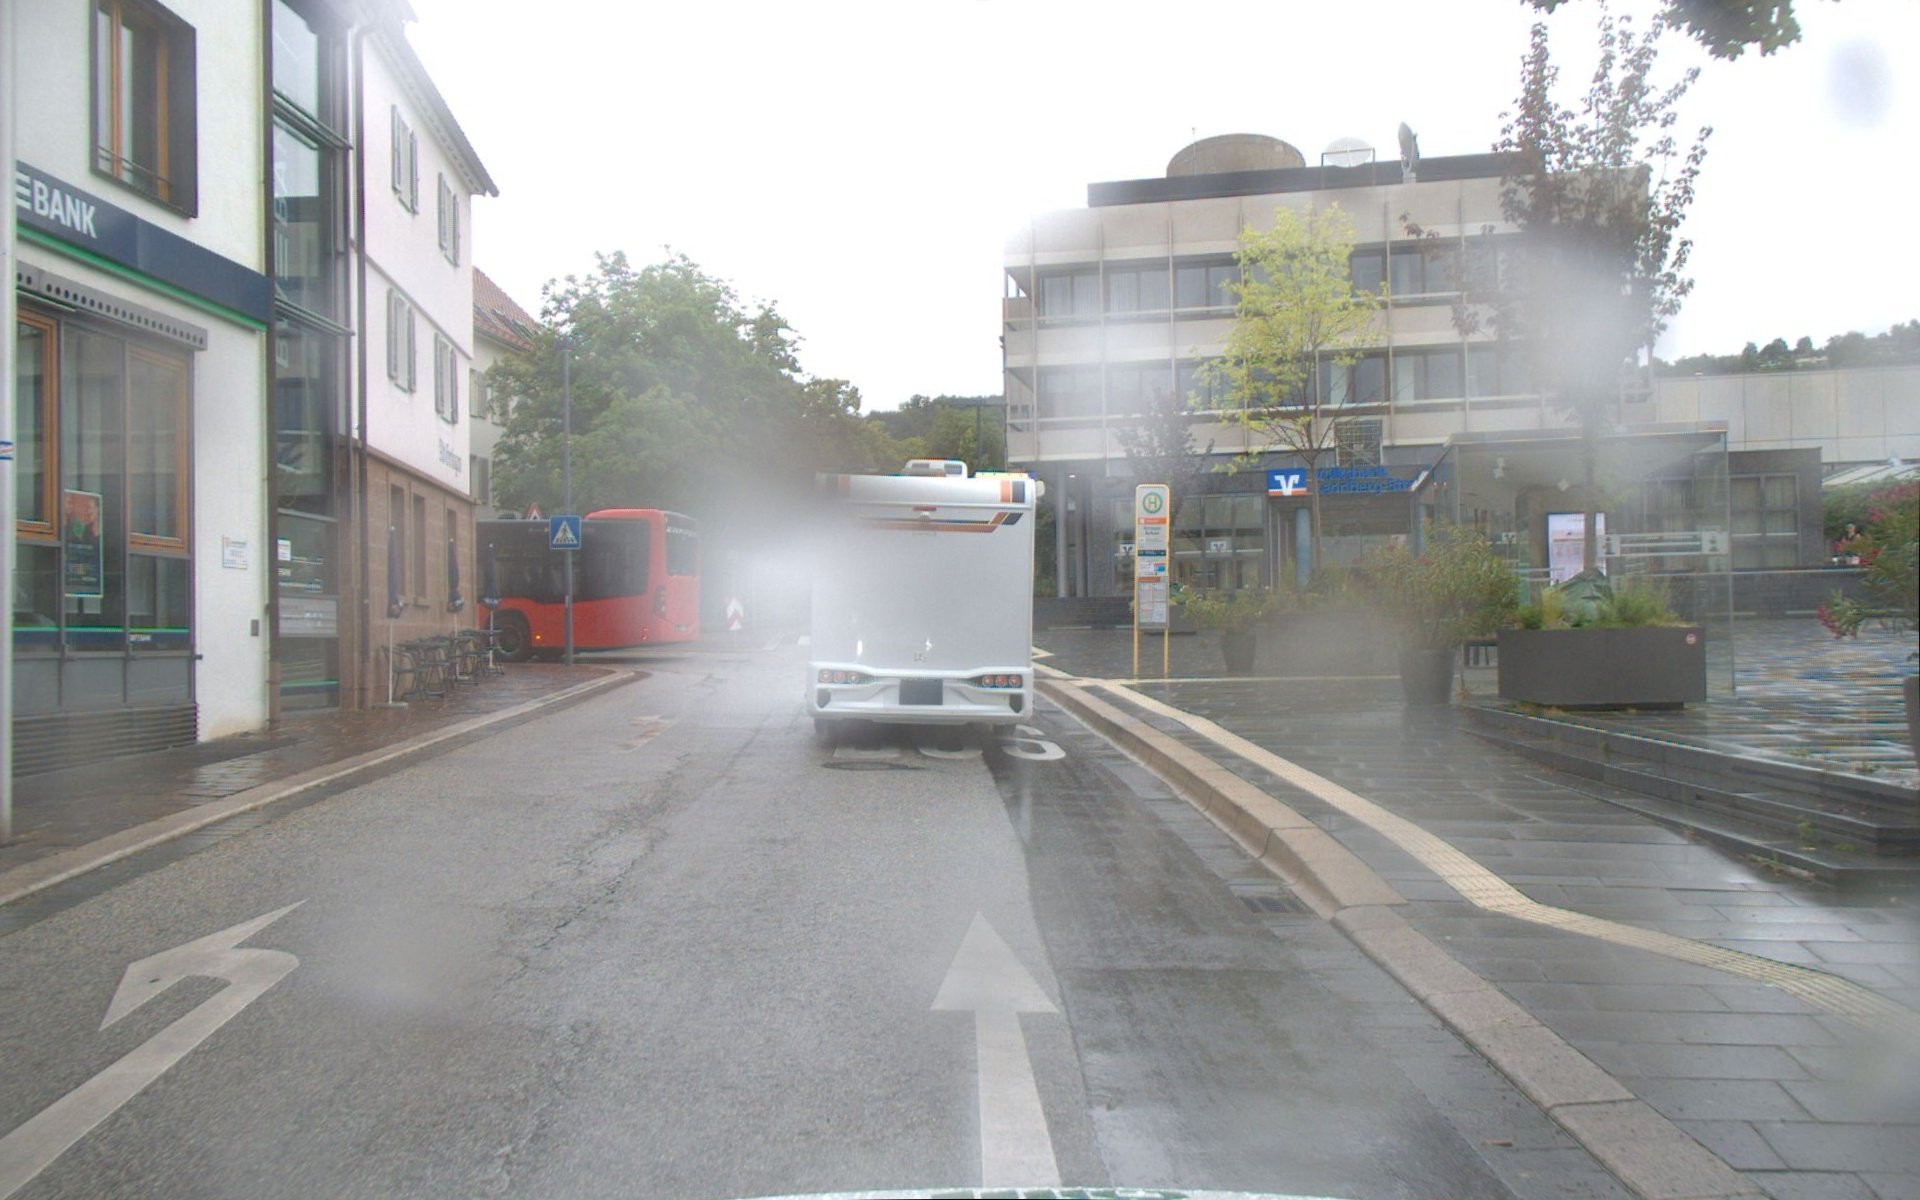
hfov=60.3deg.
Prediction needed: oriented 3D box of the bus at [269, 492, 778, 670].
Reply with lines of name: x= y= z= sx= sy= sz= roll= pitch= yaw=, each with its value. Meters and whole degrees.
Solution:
bus: x=-9.104 y=-0.338 z=34.982 sx=9.899 sy=3.201 sz=3.036 roll=-2 pitch=-1 yaw=8

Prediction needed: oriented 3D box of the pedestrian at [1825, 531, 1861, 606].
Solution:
pedestrian: x=26.472 y=-0.934 z=49.587 sx=0.742 sy=2.185 sz=0.659 roll=-2 pitch=-1 yaw=17

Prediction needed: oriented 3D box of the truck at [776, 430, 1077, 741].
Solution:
truck: x=-0.510 y=-0.116 z=18.690 sx=2.750 sy=2.845 sz=6.101 roll=-2 pitch=-1 yaw=-4
